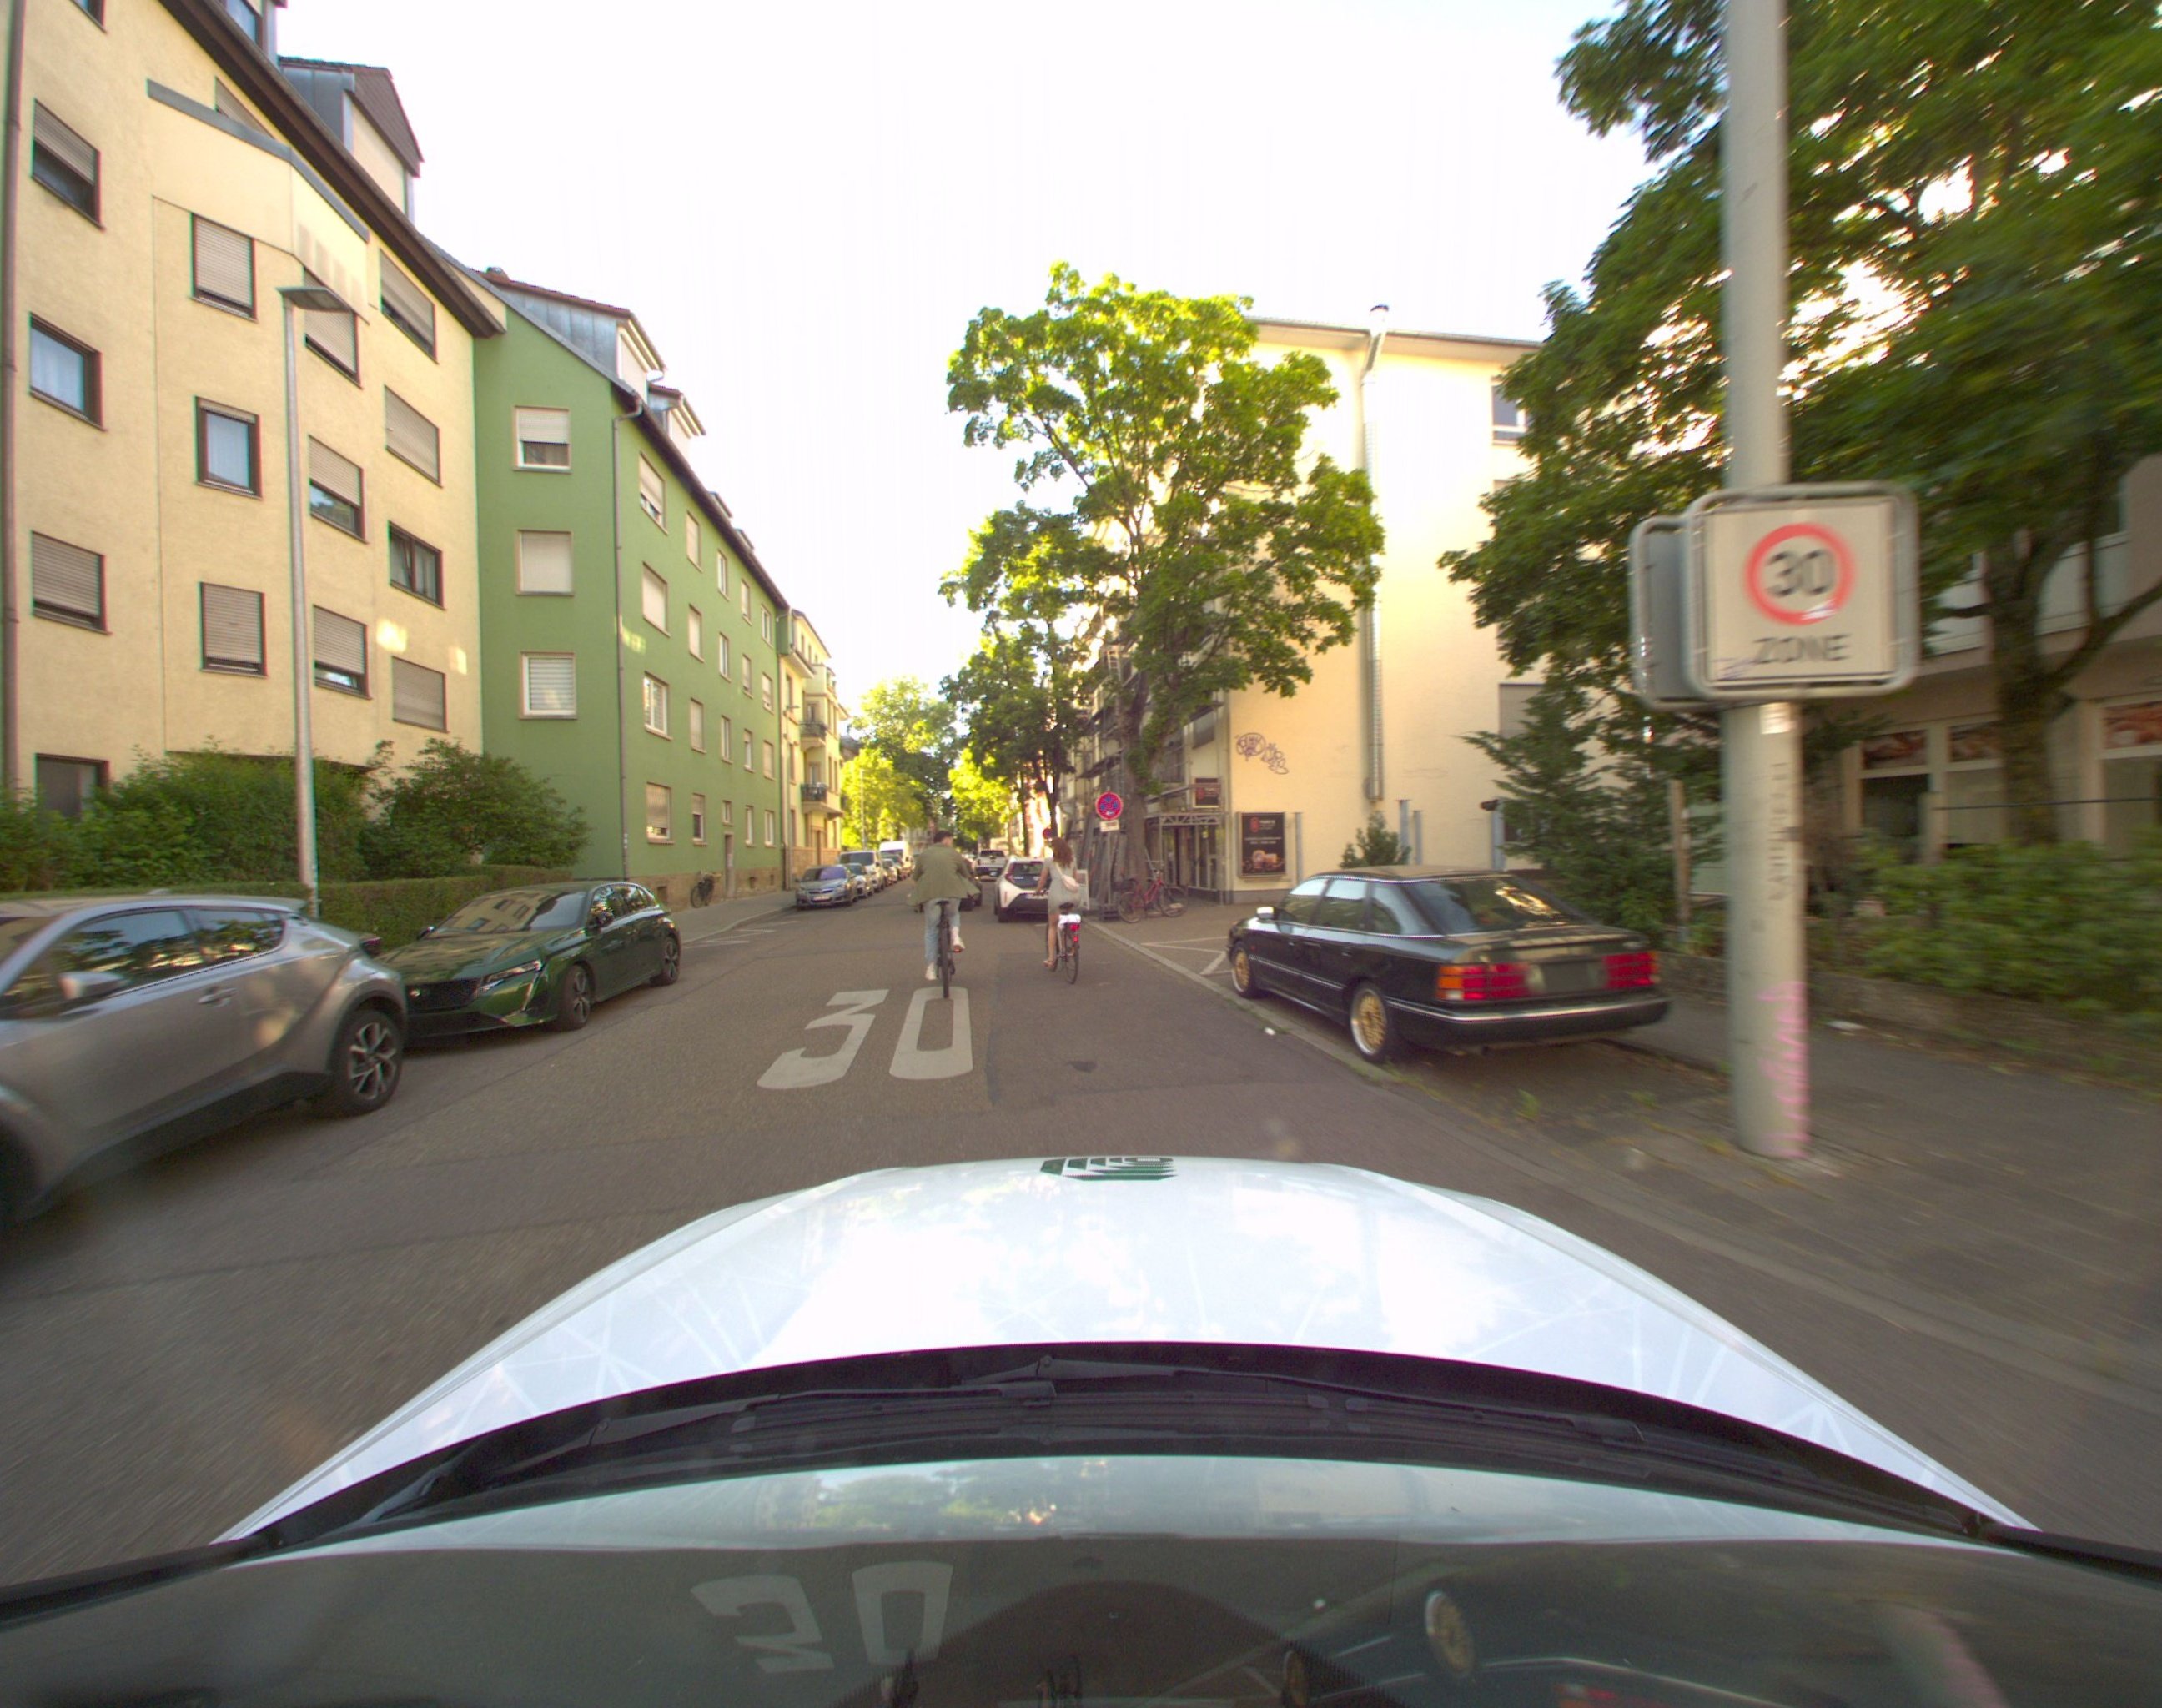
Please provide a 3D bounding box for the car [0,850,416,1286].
[{"bbox_3d":[-5.259,0.873,3.643,1.906,1.659,3.981,-3,0,-14],"label":"car"}]

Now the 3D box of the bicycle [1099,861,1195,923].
[{"bbox_3d":[1.472,0.812,18.027,1.991,1.165,0.720,-4,1,-27],"label":"bicycle"}]

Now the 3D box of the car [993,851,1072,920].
[{"bbox_3d":[-1.261,0.710,19.954,1.674,1.545,3.394,0,0,-8],"label":"car"}]

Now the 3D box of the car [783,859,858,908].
[{"bbox_3d":[-8.813,0.947,27.881,1.980,1.455,4.097,-2,0,-12],"label":"car"}]

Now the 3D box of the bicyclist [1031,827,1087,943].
[{"bbox_3d":[-0.293,0.407,10.309,0.622,1.381,0.867,-2,-4,-3],"label":"bicyclist"}]

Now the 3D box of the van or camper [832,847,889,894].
[{"bbox_3d":[-10.451,0.729,38.934,1.992,2.013,4.898,-2,0,-8],"label":"van or camper"}]

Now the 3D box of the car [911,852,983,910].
[{"bbox_3d":[-3.840,0.734,23.775,1.552,1.533,3.485,-1,0,-1],"label":"car"}]

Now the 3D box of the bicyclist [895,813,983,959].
[{"bbox_3d":[-1.603,0.362,9.324,0.880,1.562,0.866,-2,-3,-6],"label":"bicyclist"}]

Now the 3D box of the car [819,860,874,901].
[{"bbox_3d":[-9.315,1.000,32.636,1.687,1.453,3.697,-2,0,-10],"label":"car"}]

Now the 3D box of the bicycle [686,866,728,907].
[{"bbox_3d":[-11.858,1.003,25.891,0.550,1.178,2.272,2,0,-8],"label":"bicycle"}]

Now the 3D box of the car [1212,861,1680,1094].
[{"bbox_3d":[2.695,0.771,7.374,1.707,1.388,4.557,-1,0,-8],"label":"car"}]

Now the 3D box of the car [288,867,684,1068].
[{"bbox_3d":[-5.946,0.966,8.866,1.753,1.497,4.121,-3,0,-10],"label":"car"}]

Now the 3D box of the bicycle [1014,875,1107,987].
[{"bbox_3d":[-0.317,0.912,10.389,0.839,1.149,2.225,2,1,-10],"label":"bicycle"}]

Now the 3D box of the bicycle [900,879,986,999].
[{"bbox_3d":[-1.600,0.907,9.567,0.839,1.149,2.226,-2,0,-9],"label":"bicycle"}]
